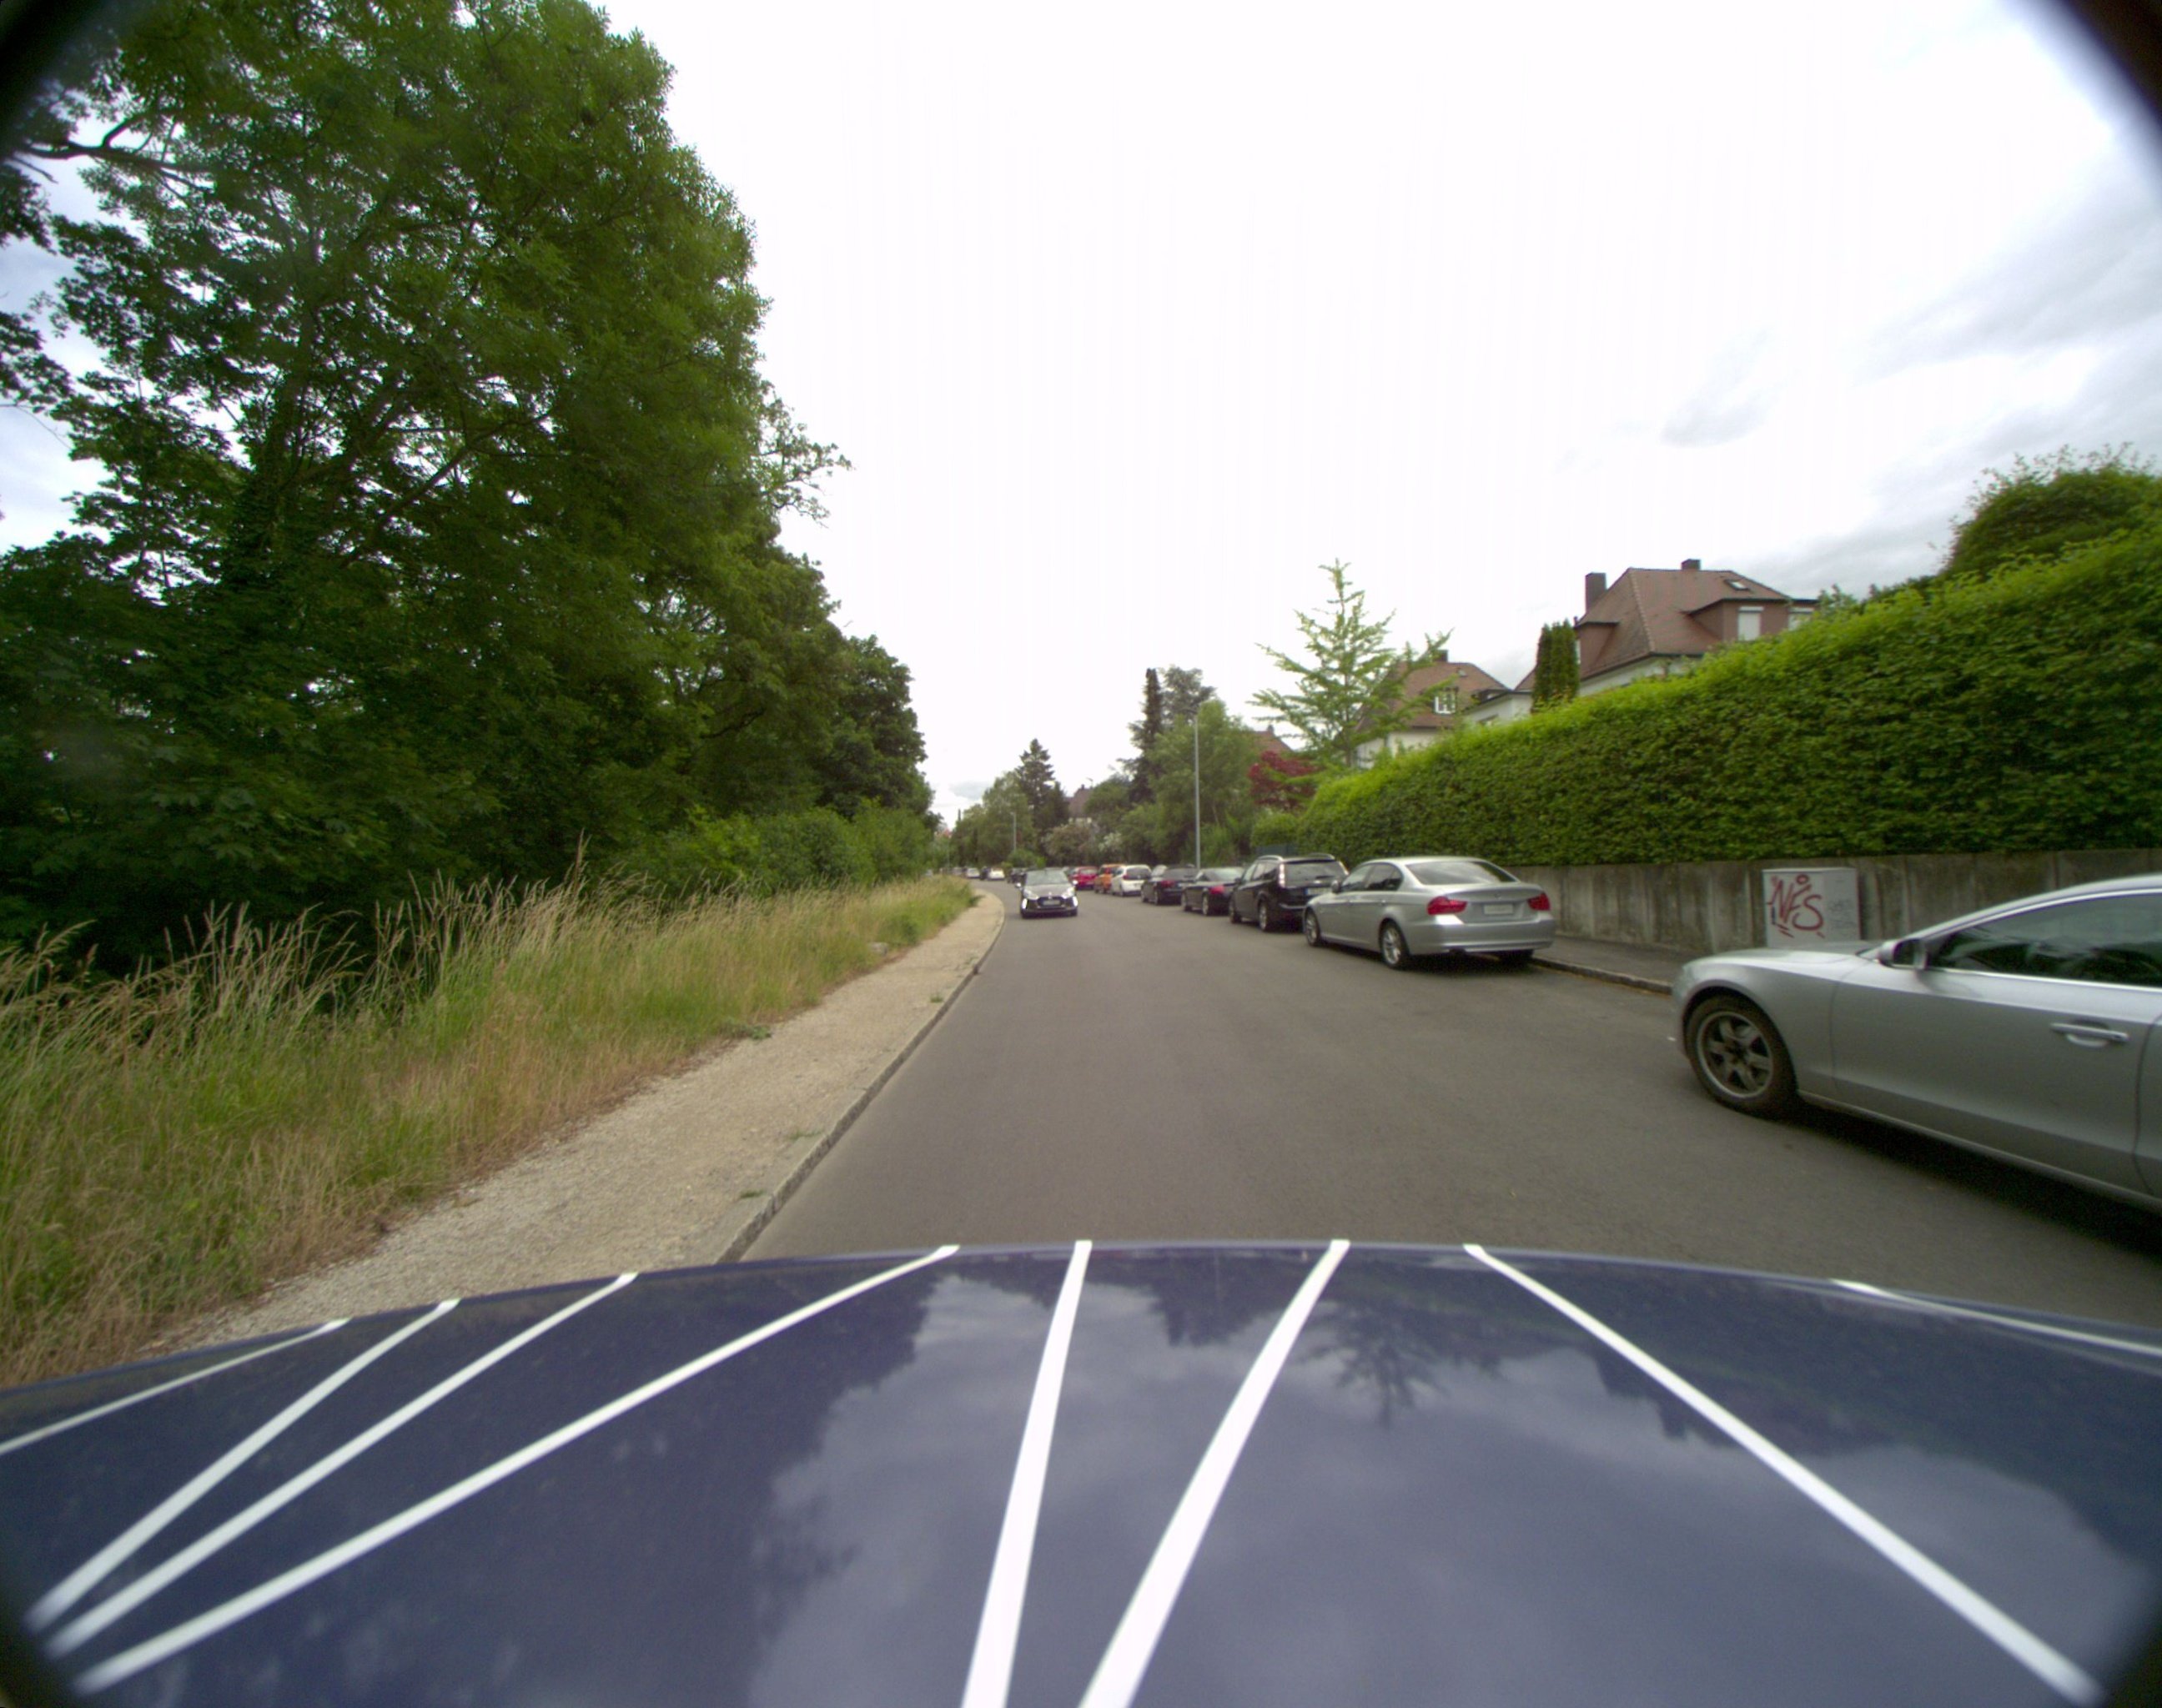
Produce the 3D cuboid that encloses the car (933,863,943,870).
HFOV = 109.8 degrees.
[{"bbox_3d":[-33.108,2.882,176.242,1.924,1.670,4.190,-2,0,-14],"label":"car"}]

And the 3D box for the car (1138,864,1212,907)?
[{"bbox_3d":[3.363,1.101,28.073,1.723,1.376,4.661,-2,0,-5],"label":"car"}]

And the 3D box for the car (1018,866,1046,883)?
[{"bbox_3d":[-4.554,1.840,69.662,1.713,1.408,4.127,-2,0,-15],"label":"car"}]

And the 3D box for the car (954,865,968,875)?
[{"bbox_3d":[-19.935,2.707,126.458,1.802,1.597,4.724,-2,0,-15],"label":"car"}]

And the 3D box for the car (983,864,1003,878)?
[{"bbox_3d":[-10.840,2.069,93.100,1.798,1.654,4.386,-2,0,-15],"label":"car"}]

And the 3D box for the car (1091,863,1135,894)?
[{"bbox_3d":[1.686,1.270,40.589,1.549,1.505,3.641,-2,0,-10],"label":"car"}]

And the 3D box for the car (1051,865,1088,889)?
[{"bbox_3d":[-0.834,1.575,53.132,1.713,1.505,4.491,-2,0,-12],"label":"car"}]

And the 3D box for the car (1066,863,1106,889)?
[{"bbox_3d":[0.253,1.354,48.119,1.712,1.505,4.360,-2,0,-10],"label":"car"}]

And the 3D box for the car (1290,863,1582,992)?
[{"bbox_3d":[4.597,0.844,10.698,1.780,1.365,4.339,-2,0,-4],"label":"car"}]

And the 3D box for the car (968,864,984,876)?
[{"bbox_3d":[-14.964,2.275,108.144,1.713,1.502,4.549,-2,0,-13],"label":"car"}]

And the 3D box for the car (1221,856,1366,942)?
[{"bbox_3d":[4.352,0.860,16.334,1.661,1.524,4.473,-2,0,-2],"label":"car"}]

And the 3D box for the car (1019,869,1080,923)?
[{"bbox_3d":[-1.086,1.266,24.368,1.712,1.466,4.193,-2,0,-5],"label":"car"}]

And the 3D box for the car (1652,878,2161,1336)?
[{"bbox_3d":[4.409,0.850,2.410,1.836,1.365,4.445,-2,0,0],"label":"car"}]

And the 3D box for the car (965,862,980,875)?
[{"bbox_3d":[-16.342,2.148,113.997,1.713,1.789,4.293,-2,0,-14],"label":"car"}]

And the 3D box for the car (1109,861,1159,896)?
[{"bbox_3d":[2.477,1.133,36.020,1.593,1.505,3.588,-2,0,-8],"label":"car"}]

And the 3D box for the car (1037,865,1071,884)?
[{"bbox_3d":[-2.121,1.568,58.644,1.713,1.401,4.155,-2,0,-15],"label":"car"}]

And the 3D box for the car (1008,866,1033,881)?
[{"bbox_3d":[-5.997,1.921,74.610,1.713,1.408,4.144,-2,0,-15],"label":"car"}]

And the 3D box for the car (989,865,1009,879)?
[{"bbox_3d":[-9.613,2.058,88.772,1.713,1.502,3.941,-2,0,-15],"label":"car"}]

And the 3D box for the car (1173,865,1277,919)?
[{"bbox_3d":[4.031,1.024,21.941,1.716,1.333,4.105,-2,0,-7],"label":"car"}]
